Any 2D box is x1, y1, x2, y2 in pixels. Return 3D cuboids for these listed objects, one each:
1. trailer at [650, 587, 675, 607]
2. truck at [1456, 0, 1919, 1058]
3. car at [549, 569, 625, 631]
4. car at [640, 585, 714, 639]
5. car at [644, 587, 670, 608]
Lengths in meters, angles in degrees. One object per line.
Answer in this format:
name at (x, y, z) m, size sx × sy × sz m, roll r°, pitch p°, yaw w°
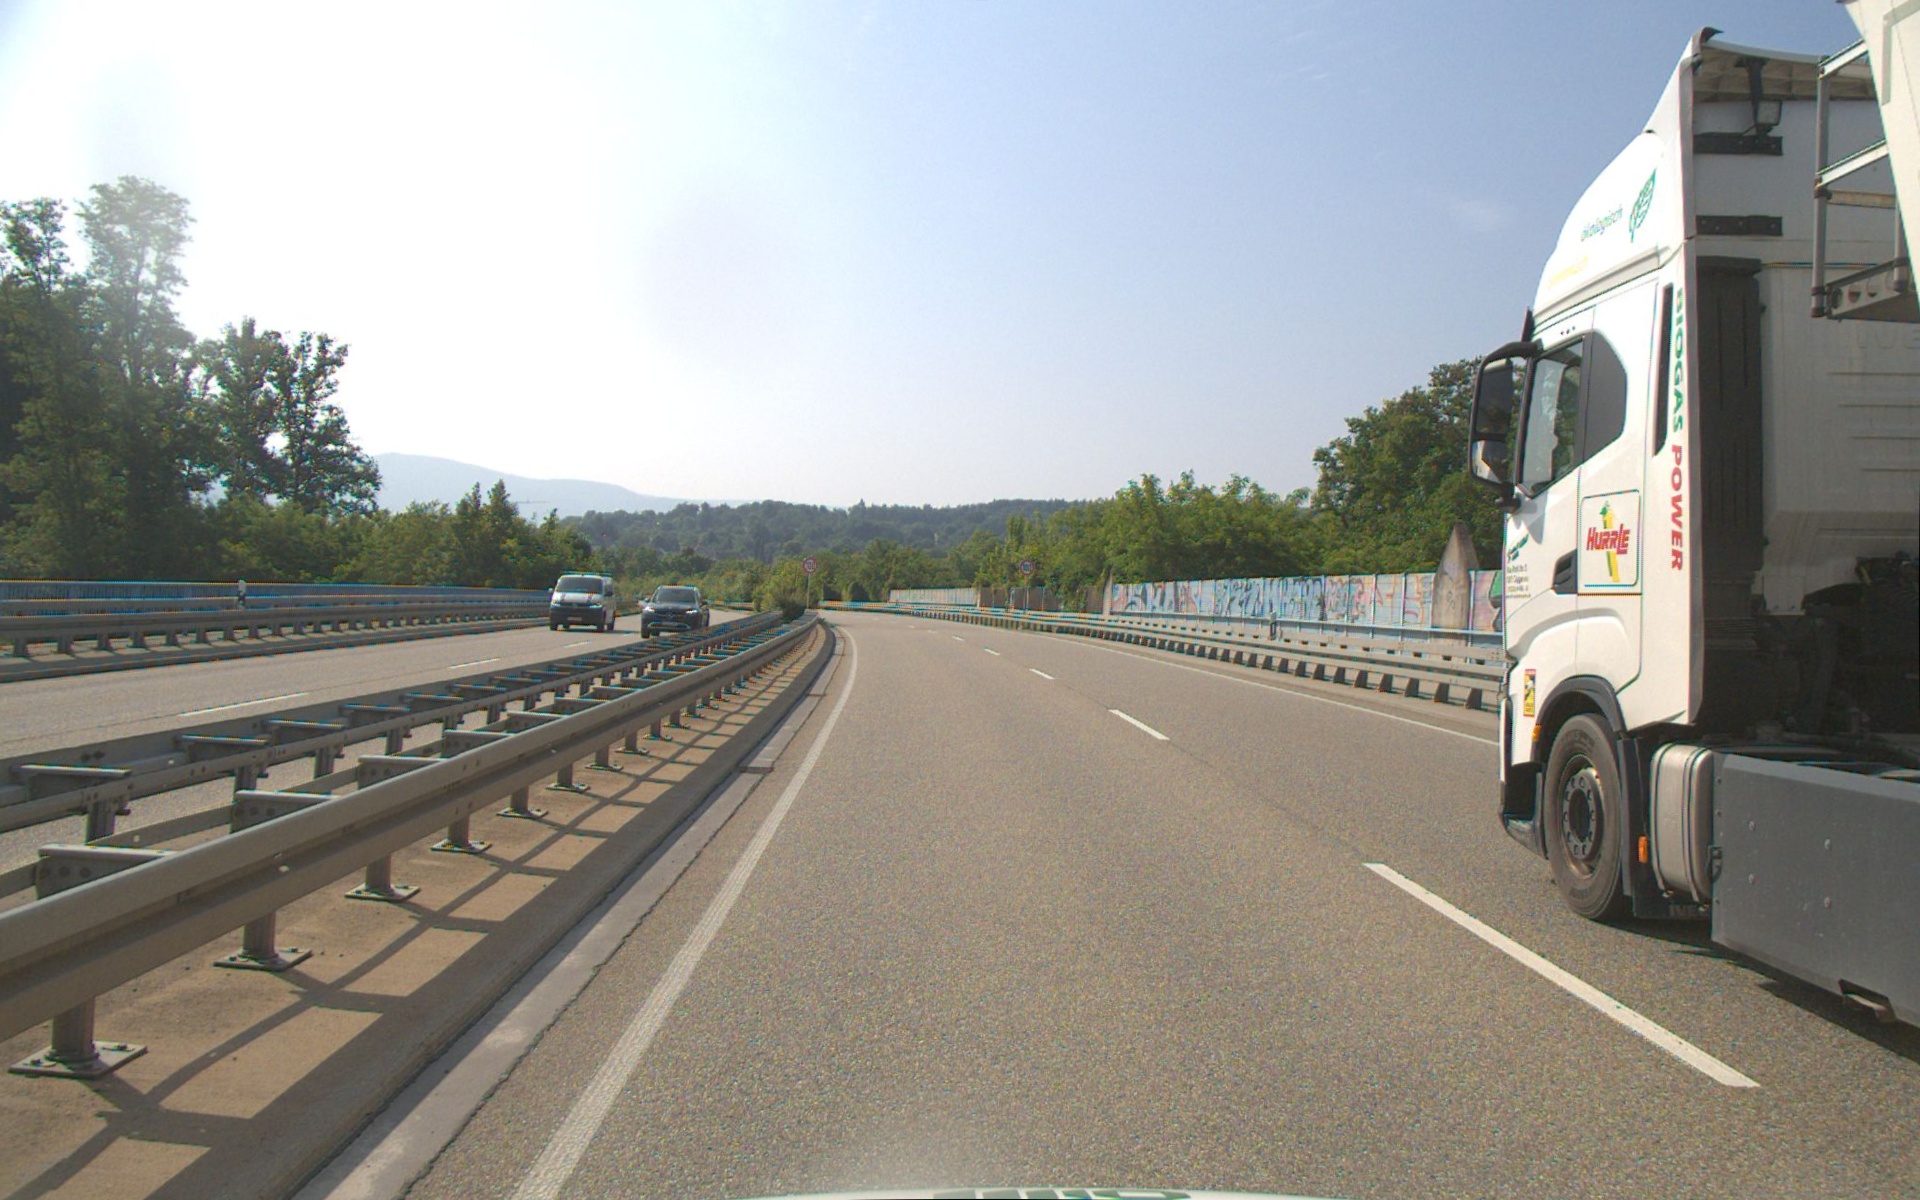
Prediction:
trailer at (-25.201, -0.256, 140.202) m, size 1.685 × 1.606 × 4.806 m, roll 3°, pitch 0°, yaw -6°
truck at (4.359, -0.493, 7.119) m, size 2.605 × 3.964 × 5.646 m, roll 1°, pitch 0°, yaw -1°
car at (-13.352, -0.029, 59.479) m, size 1.999 × 2.041 × 5.301 m, roll 2°, pitch 0°, yaw -6°
car at (-9.149, 0.357, 53.690) m, size 1.828 × 1.635 × 4.415 m, roll 2°, pitch 0°, yaw -3°
car at (-24.860, -0.212, 135.774) m, size 1.690 × 1.624 × 3.995 m, roll 3°, pitch 0°, yaw -6°
